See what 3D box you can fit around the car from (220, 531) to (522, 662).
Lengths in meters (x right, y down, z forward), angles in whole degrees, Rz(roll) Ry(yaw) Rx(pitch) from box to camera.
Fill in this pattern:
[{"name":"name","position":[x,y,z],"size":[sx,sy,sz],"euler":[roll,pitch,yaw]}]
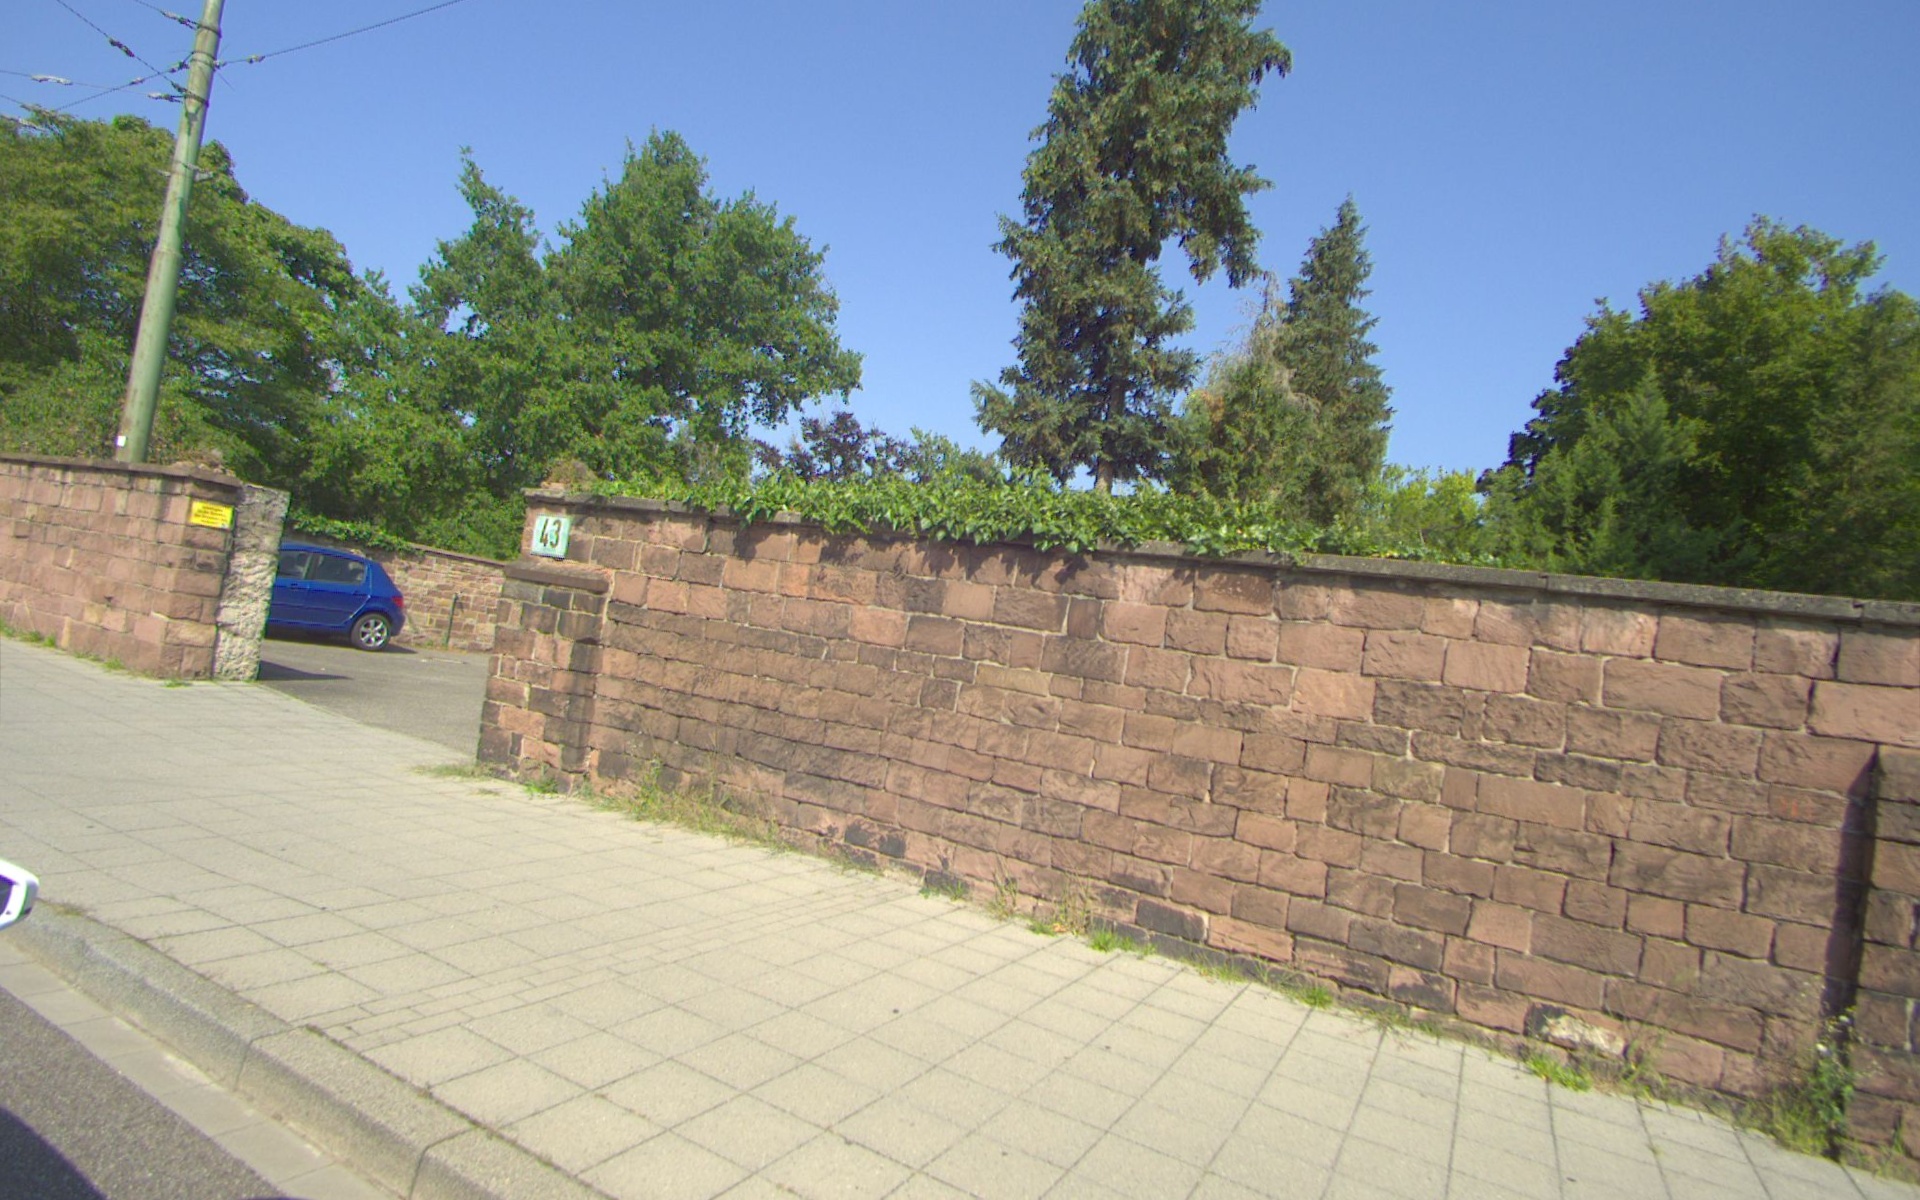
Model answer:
[{"name":"car","position":[-9.873,0.030,17.199],"size":[1.747,1.479,3.983],"euler":[8,-4,28]}]
